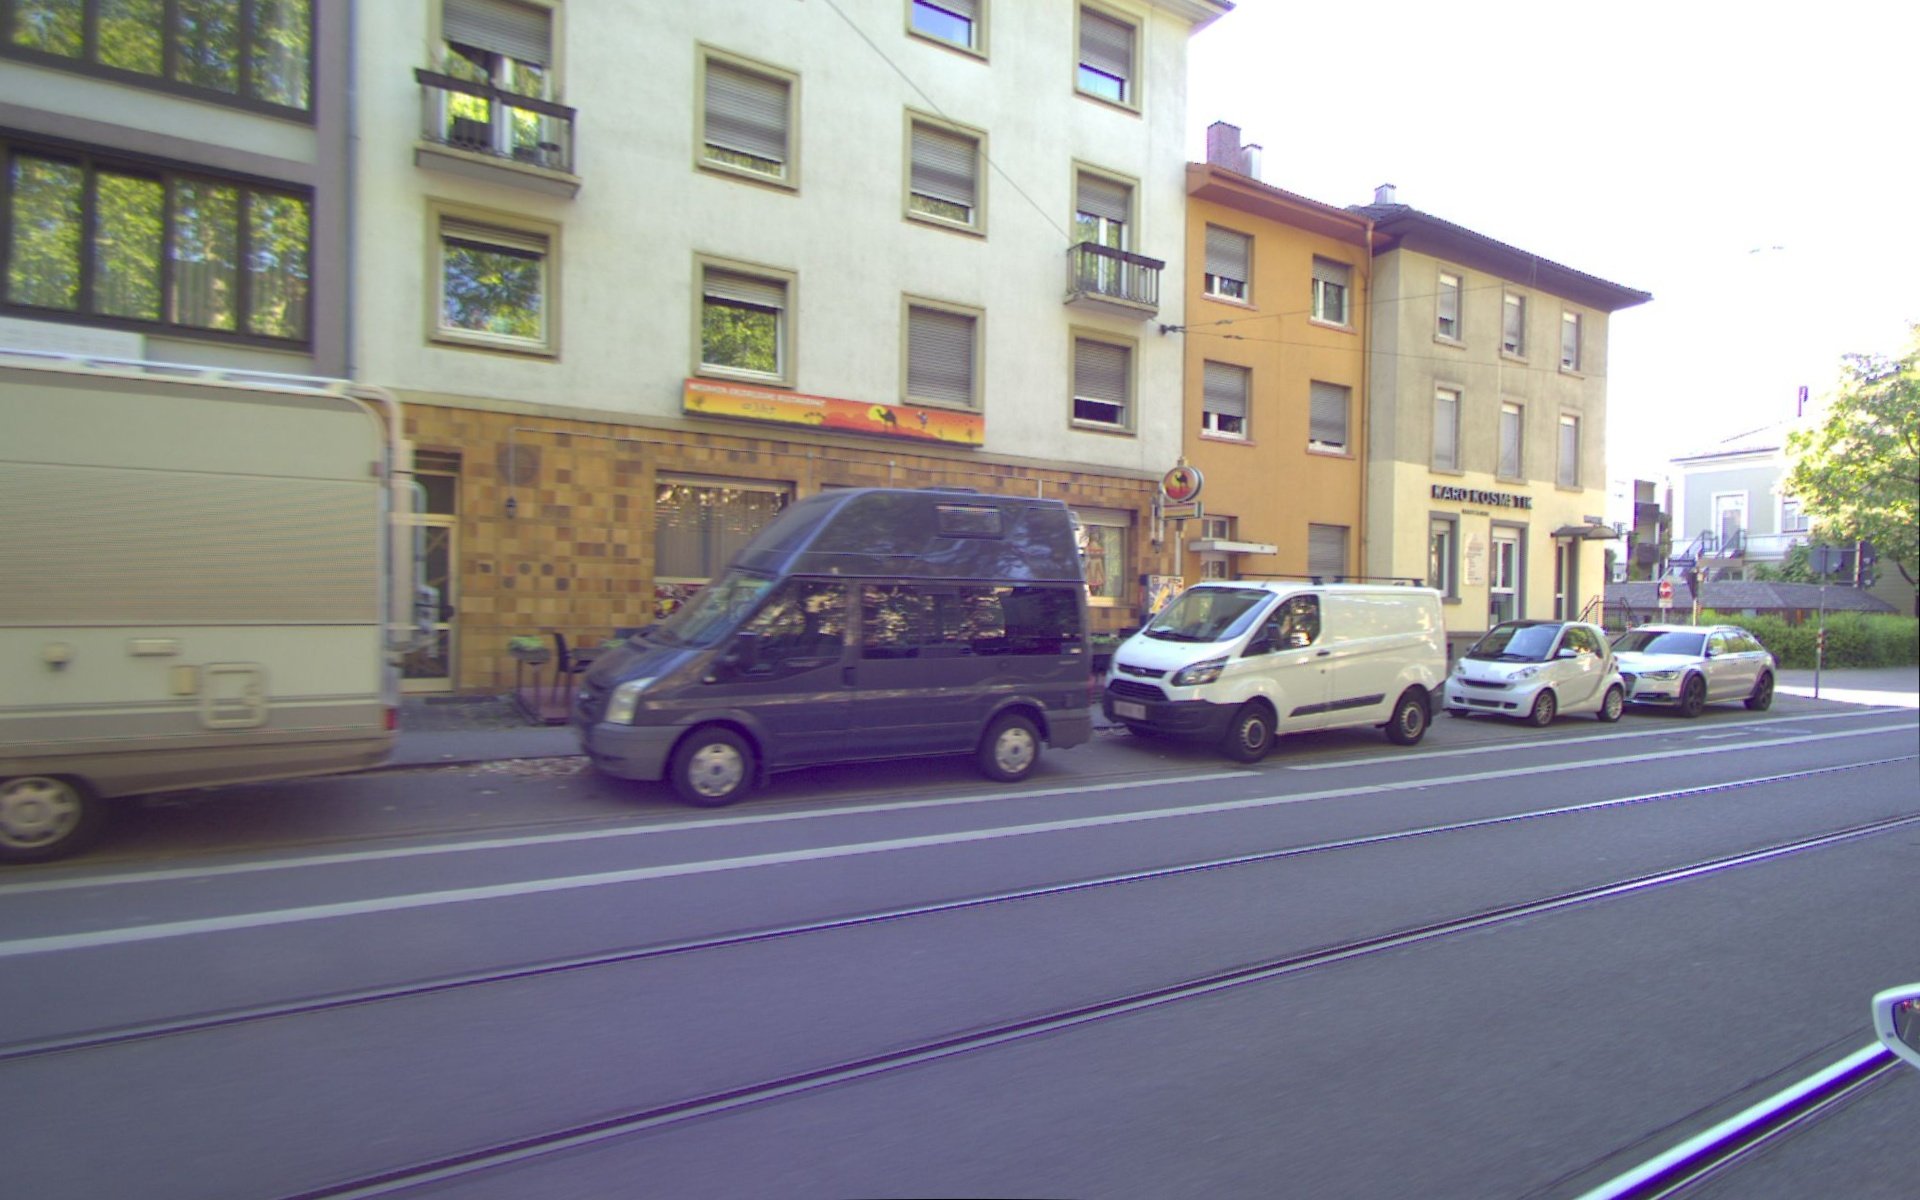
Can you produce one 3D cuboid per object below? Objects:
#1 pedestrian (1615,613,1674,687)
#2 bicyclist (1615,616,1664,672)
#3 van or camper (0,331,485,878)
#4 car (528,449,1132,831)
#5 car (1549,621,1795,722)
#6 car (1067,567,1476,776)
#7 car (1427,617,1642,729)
[{"bbox_3d":[15.496,1.119,22.751,0.930,1.614,0.783,1,-1,-30],"label":"pedestrian"},{"bbox_3d":[21.641,1.384,32.007,1.049,1.728,1.037,1,-1,-40],"label":"bicyclist"},{"bbox_3d":[-6.575,-0.028,6.323,6.321,3.082,2.326,1,2,-30],"label":"van or camper"},{"bbox_3d":[-1.112,0.290,9.517,5.247,2.768,2.076,1,2,-31],"label":"car"},{"bbox_3d":[12.879,1.195,18.077,5.014,1.488,1.825,1,2,-33],"label":"car"},{"bbox_3d":[4.004,0.722,12.564,5.191,2.120,1.941,0,3,-33],"label":"car"},{"bbox_3d":[9.052,1.096,15.820,3.003,1.547,1.565,1,1,-29],"label":"car"}]
